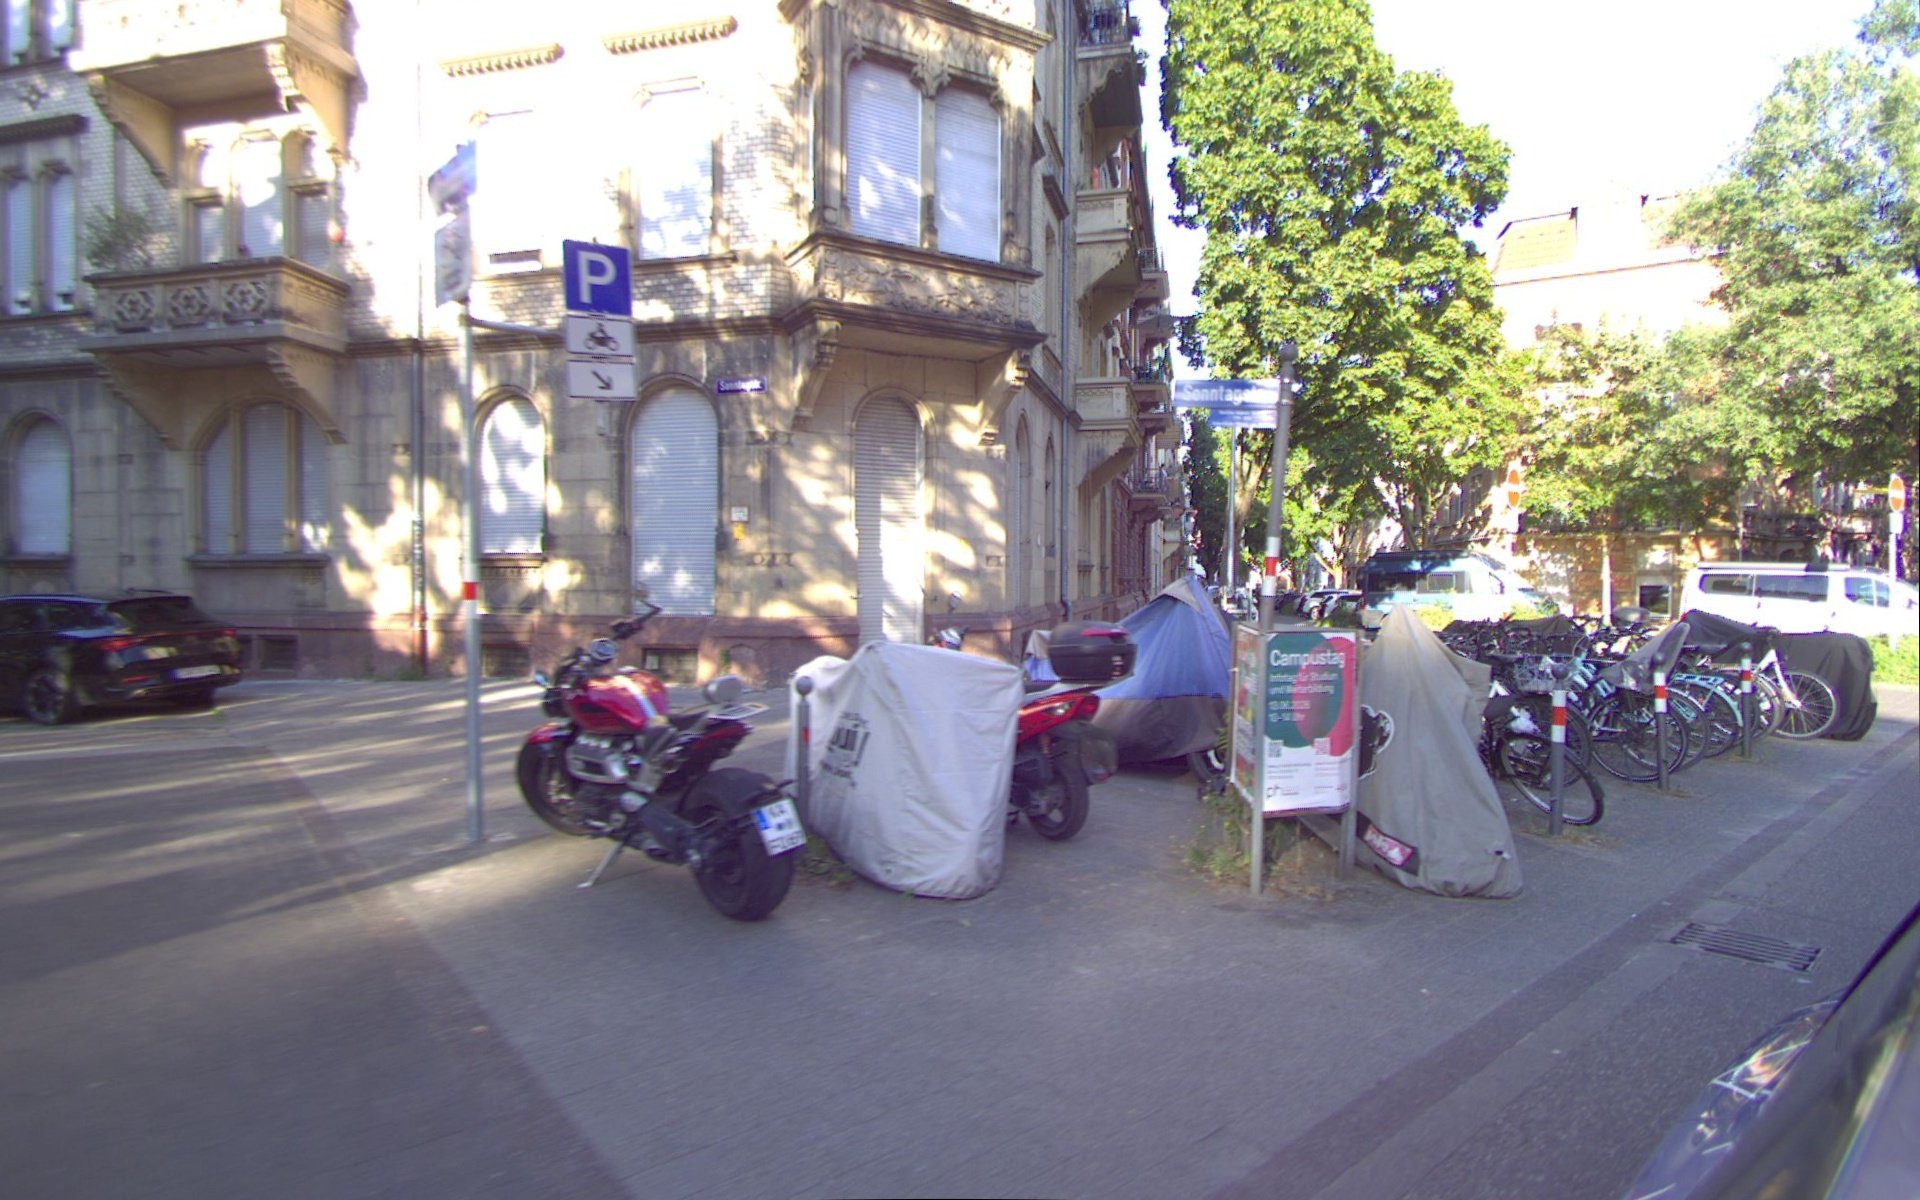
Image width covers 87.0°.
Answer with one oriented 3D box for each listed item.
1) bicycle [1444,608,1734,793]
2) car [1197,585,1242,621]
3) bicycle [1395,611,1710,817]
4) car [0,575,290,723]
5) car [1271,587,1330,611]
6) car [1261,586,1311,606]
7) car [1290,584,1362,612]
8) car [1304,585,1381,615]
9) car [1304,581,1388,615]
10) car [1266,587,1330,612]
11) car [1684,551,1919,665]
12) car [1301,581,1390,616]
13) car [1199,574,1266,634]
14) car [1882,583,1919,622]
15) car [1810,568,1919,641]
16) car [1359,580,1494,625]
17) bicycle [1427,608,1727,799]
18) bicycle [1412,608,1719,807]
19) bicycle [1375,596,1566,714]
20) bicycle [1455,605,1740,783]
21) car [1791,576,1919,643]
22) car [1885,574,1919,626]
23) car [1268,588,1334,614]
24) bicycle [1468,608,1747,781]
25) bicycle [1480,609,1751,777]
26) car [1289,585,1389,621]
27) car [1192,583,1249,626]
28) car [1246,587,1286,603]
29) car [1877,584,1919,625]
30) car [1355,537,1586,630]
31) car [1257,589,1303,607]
[{"bbox_3d":[4.842,0.717,7.922,1.906,1.262,0.298,1,1,45],"label":"bicycle"},{"bbox_3d":[12.128,0.102,47.485,1.838,1.602,4.230,1,1,12],"label":"car"},{"bbox_3d":[4.137,0.731,7.216,1.925,1.262,0.298,1,1,45],"label":"bicycle"},{"bbox_3d":[-10.578,0.556,11.917,4.298,1.393,1.995,-2,4,12],"label":"car"},{"bbox_3d":[25.903,-0.086,77.035,3.978,1.742,1.757,0,0,38],"label":"car"},{"bbox_3d":[29.534,-0.392,91.630,3.978,1.742,1.757,0,0,38],"label":"car"},{"bbox_3d":[23.443,-0.143,64.869,3.978,1.742,1.757,0,0,38],"label":"car"},{"bbox_3d":[22.780,-0.020,60.345,3.978,1.742,1.757,0,0,38],"label":"car"},{"bbox_3d":[21.013,-0.118,55.166,3.978,1.742,1.757,0,0,38],"label":"car"},{"bbox_3d":[24.055,-0.051,72.108,3.978,1.742,1.757,0,0,38],"label":"car"},{"bbox_3d":[17.930,0.120,20.476,2.068,2.122,4.984,0,1,-40],"label":"car"},{"bbox_3d":[20.018,-0.071,52.635,3.978,1.742,1.757,0,0,38],"label":"car"},{"bbox_3d":[7.944,0.066,29.741,1.755,1.630,4.201,1,1,14],"label":"car"},{"bbox_3d":[38.226,0.151,38.960,3.987,1.493,1.754,4,3,43],"label":"car"},{"bbox_3d":[27.368,0.124,28.829,1.966,2.039,4.622,0,2,-42],"label":"car"},{"bbox_3d":[16.721,0.050,36.410,1.832,1.529,4.059,0,1,-44],"label":"car"},{"bbox_3d":[4.602,0.713,7.690,1.925,1.262,0.298,1,1,45],"label":"bicycle"},{"bbox_3d":[4.369,0.715,7.448,1.925,1.262,0.298,1,1,45],"label":"bicycle"},{"bbox_3d":[5.989,0.596,11.955,1.925,1.262,0.638,1,1,44],"label":"bicycle"},{"bbox_3d":[5.064,0.689,8.165,1.925,1.262,0.298,1,1,45],"label":"bicycle"},{"bbox_3d":[25.204,0.236,27.371,1.769,1.713,3.993,0,2,-41],"label":"car"},{"bbox_3d":[40.364,0.017,40.208,2.121,1.963,5.103,-5,4,-39],"label":"car"},{"bbox_3d":[23.506,0.074,69.743,3.978,1.742,1.757,0,0,38],"label":"car"},{"bbox_3d":[5.298,0.718,8.403,1.925,1.262,0.298,1,1,45],"label":"bicycle"},{"bbox_3d":[5.521,0.730,8.645,1.925,1.262,0.298,1,1,45],"label":"bicycle"},{"bbox_3d":[17.356,0.119,46.379,3.974,1.584,1.759,0,0,35],"label":"car"},{"bbox_3d":[9.675,0.120,37.820,1.838,1.493,4.230,1,1,12],"label":"car"},{"bbox_3d":[34.376,-0.529,113.698,3.978,1.742,1.757,0,0,38],"label":"car"},{"bbox_3d":[36.433,0.213,36.769,1.899,1.473,4.380,0,2,-39],"label":"car"},{"bbox_3d":[15.477,-0.523,30.965,5.896,2.569,2.342,1,1,44],"label":"car"},{"bbox_3d":[31.843,-0.246,100.721,3.978,1.742,1.757,0,0,38],"label":"car"}]
